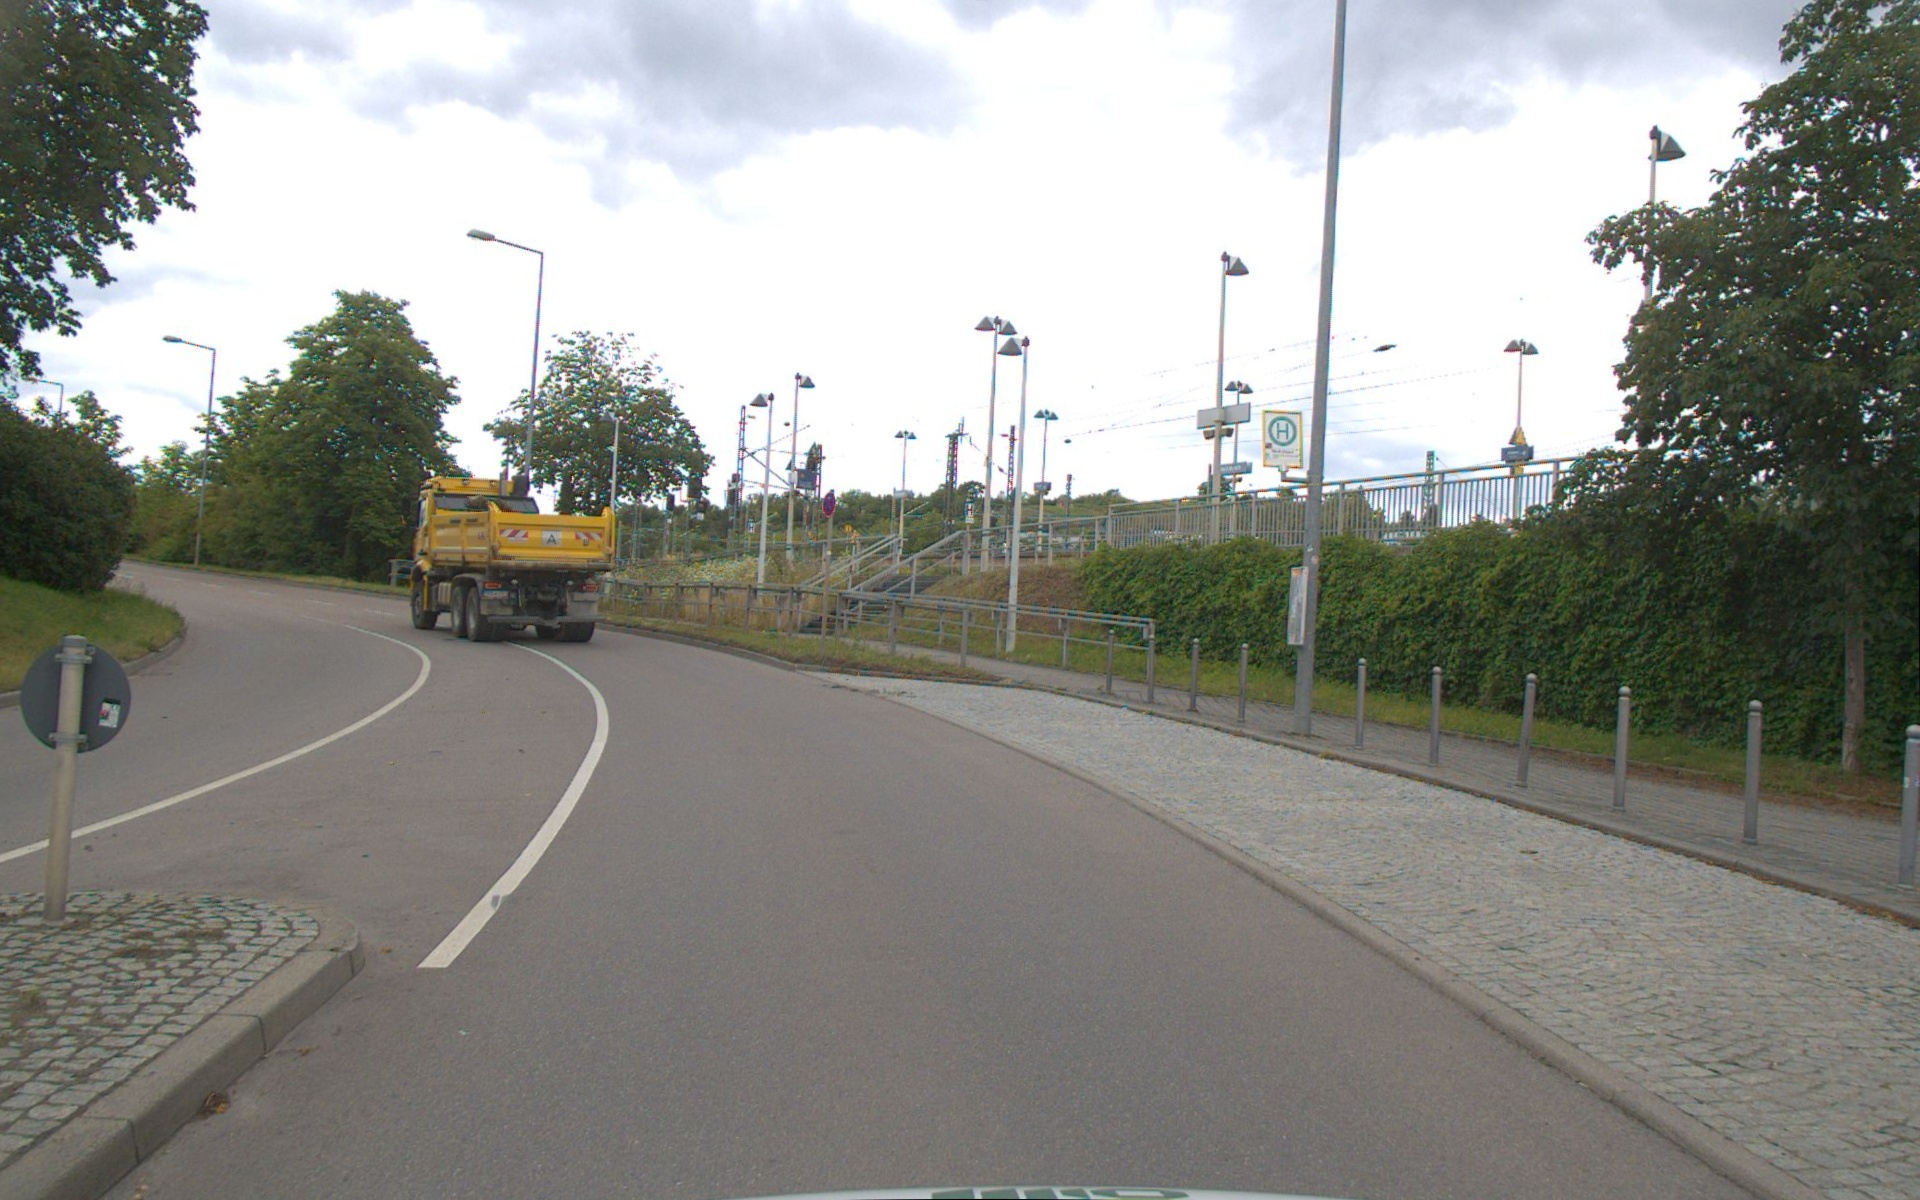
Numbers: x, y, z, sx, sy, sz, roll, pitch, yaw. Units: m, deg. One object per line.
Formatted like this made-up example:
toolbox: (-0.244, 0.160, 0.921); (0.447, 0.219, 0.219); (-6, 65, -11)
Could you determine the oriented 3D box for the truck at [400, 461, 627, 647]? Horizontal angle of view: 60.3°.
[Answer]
truck: (-9.902, -1.035, 35.963); (2.736, 3.544, 8.048); (2, 1, -30)
